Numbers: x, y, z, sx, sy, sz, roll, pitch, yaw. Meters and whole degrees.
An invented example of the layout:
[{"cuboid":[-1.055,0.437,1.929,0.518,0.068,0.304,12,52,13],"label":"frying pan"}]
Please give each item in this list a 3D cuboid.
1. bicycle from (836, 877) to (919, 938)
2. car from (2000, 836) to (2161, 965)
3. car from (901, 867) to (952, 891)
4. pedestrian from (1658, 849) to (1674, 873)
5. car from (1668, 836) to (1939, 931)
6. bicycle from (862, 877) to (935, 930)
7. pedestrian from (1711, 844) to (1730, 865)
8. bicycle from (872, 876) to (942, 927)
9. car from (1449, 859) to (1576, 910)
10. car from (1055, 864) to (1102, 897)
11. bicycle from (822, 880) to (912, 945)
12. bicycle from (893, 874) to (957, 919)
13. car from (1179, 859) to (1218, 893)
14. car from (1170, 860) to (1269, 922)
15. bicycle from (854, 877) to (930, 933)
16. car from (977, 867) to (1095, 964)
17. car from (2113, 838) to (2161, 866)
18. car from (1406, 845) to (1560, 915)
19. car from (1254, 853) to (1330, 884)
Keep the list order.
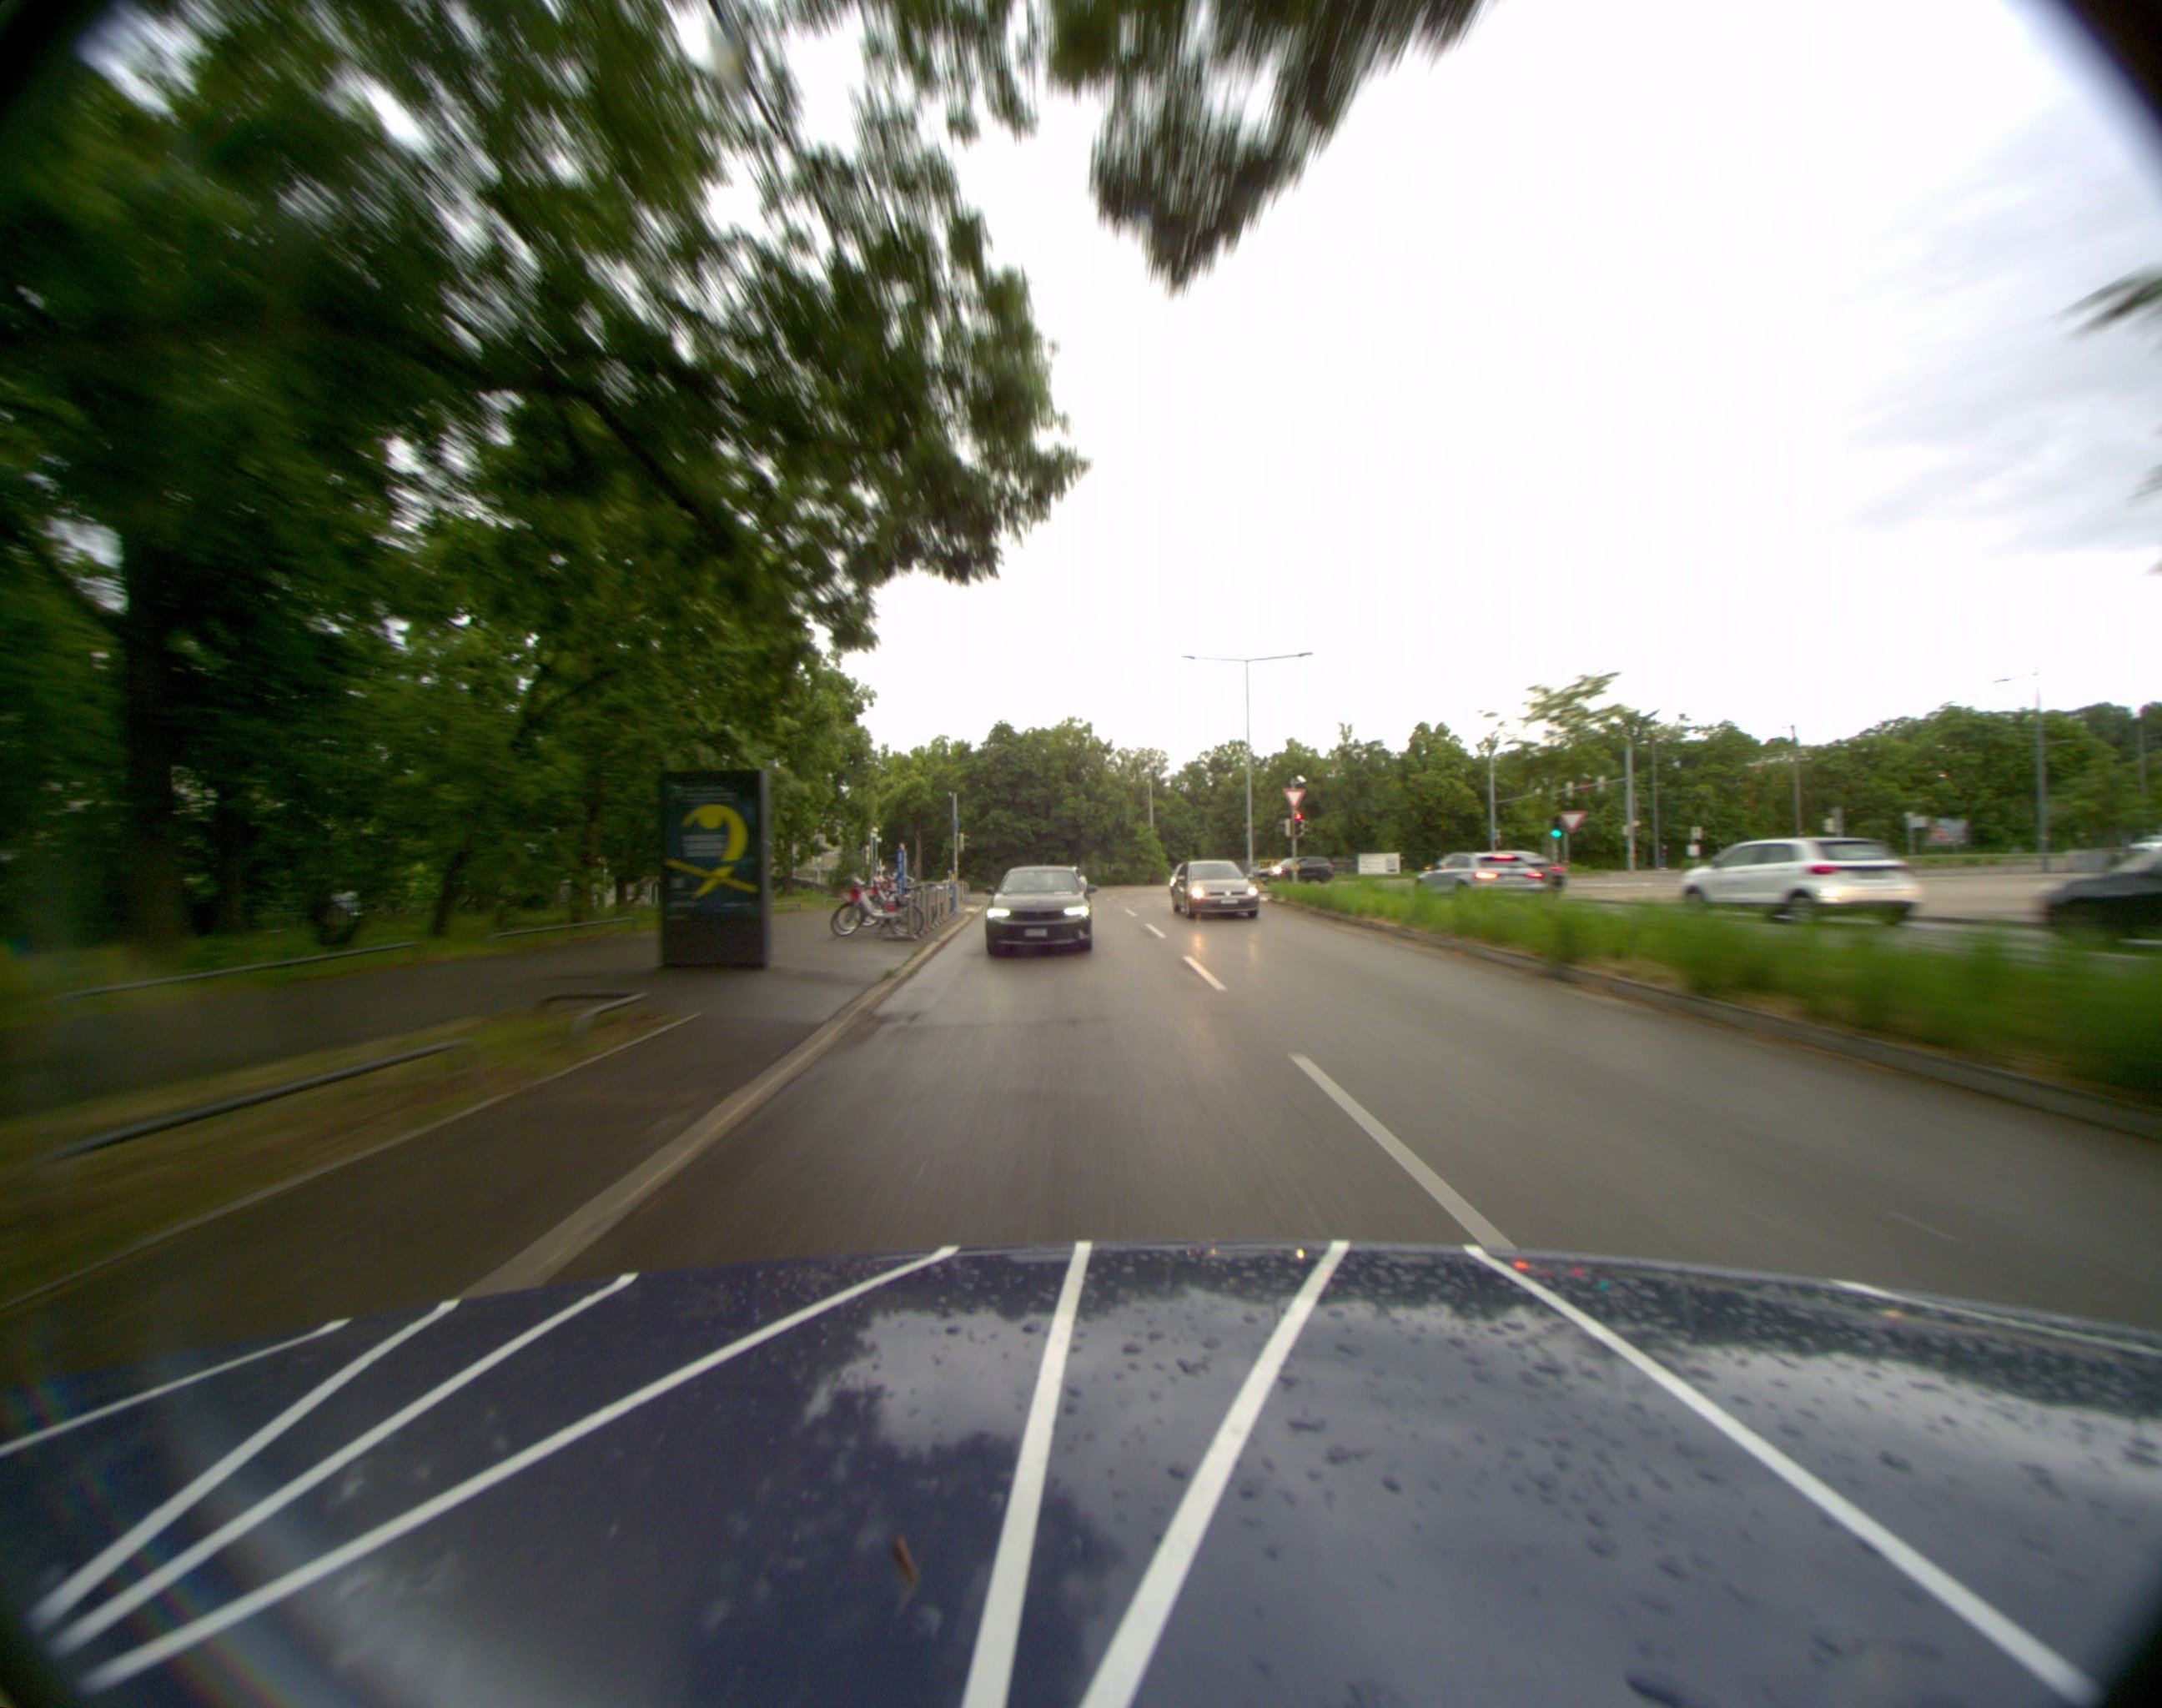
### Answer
[{"cuboid":[-4.010,1.049,15.041,1.489,1.125,0.556,1,0,-4],"label":"bicycle"},{"cuboid":[12.978,0.505,8.151,1.719,1.451,3.752,-1,-2,2],"label":"car"},{"cuboid":[-13.966,2.236,68.707,4.008,2.001,1.995,-1,-1,-44],"label":"car"},{"cuboid":[46.922,0.543,60.992,0.699,1.872,0.678,-2,-1,1],"label":"pedestrian"},{"cuboid":[13.420,0.547,14.464,1.654,1.566,3.703,0,-2,2],"label":"car"},{"cuboid":[-4.054,1.095,16.965,1.489,1.125,0.556,1,0,-4],"label":"bicycle"},{"cuboid":[52.062,0.042,61.886,0.831,1.665,0.822,-2,-1,1],"label":"pedestrian"},{"cuboid":[-4.060,1.103,17.777,1.489,1.125,0.556,1,0,-4],"label":"bicycle"},{"cuboid":[13.739,0.961,24.468,1.830,1.510,4.065,0,-2,1],"label":"car"},{"cuboid":[-0.087,1.272,37.890,1.643,1.511,3.583,-2,-1,11],"label":"car"},{"cuboid":[-3.944,1.071,14.059,1.489,1.125,0.556,1,0,-4],"label":"bicycle"},{"cuboid":[-4.181,1.138,20.450,1.600,1.125,0.556,1,0,-4],"label":"bicycle"},{"cuboid":[5.715,1.071,37.232,1.669,1.520,3.660,-2,-1,6],"label":"car"},{"cuboid":[3.537,0.903,20.168,1.904,1.431,4.000,-2,0,1],"label":"car"},{"cuboid":[-4.014,1.076,16.196,1.489,1.125,0.556,1,0,-4],"label":"bicycle"},{"cuboid":[-0.674,1.011,14.263,1.804,1.422,4.520,-3,-1,1],"label":"car"},{"cuboid":[79.506,-0.200,56.144,3.999,2.002,1.999,-1,0,-5],"label":"car"},{"cuboid":[10.453,0.698,20.153,1.853,1.565,4.166,-3,-2,1],"label":"car"},{"cuboid":[12.743,0.877,45.977,4.003,1.761,1.904,-2,-1,-20],"label":"car"}]
